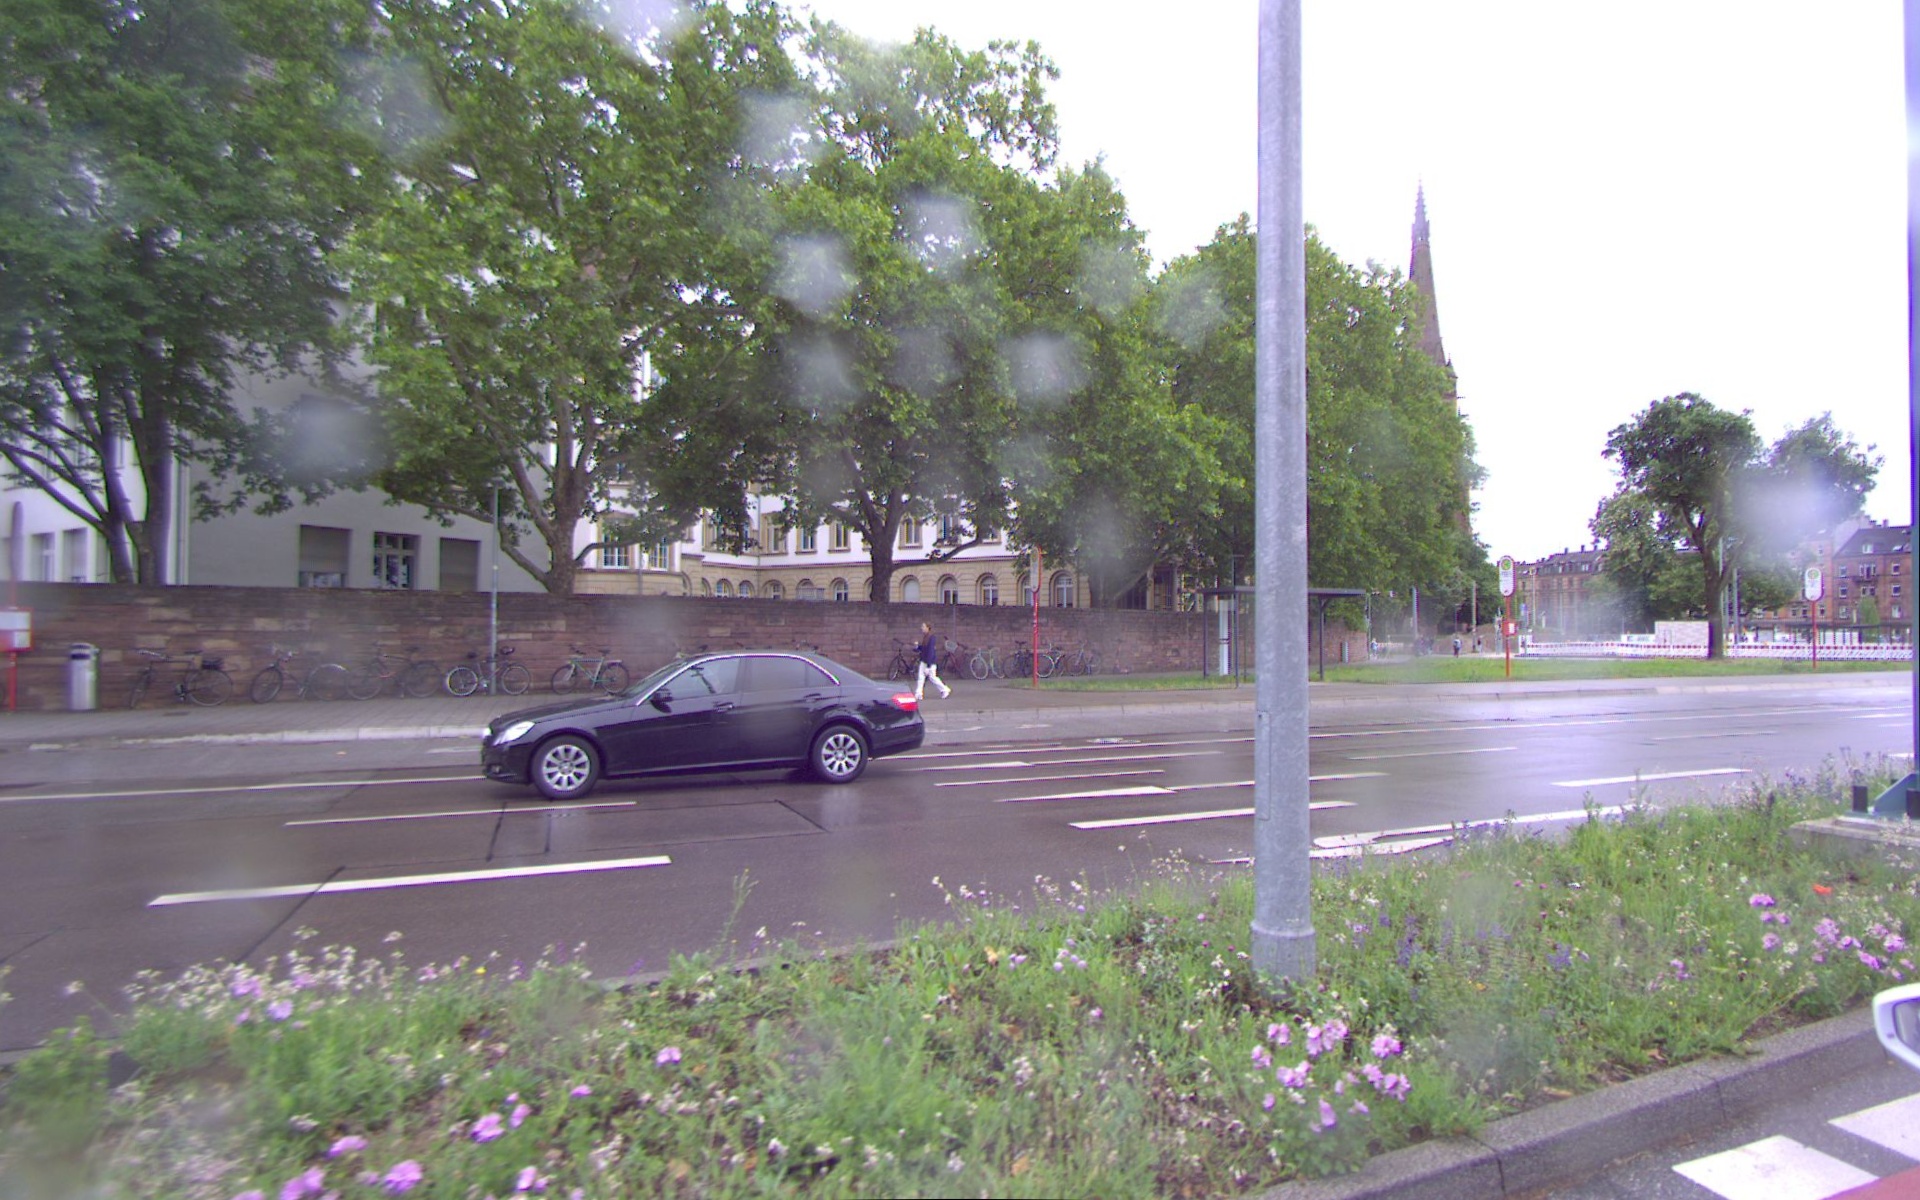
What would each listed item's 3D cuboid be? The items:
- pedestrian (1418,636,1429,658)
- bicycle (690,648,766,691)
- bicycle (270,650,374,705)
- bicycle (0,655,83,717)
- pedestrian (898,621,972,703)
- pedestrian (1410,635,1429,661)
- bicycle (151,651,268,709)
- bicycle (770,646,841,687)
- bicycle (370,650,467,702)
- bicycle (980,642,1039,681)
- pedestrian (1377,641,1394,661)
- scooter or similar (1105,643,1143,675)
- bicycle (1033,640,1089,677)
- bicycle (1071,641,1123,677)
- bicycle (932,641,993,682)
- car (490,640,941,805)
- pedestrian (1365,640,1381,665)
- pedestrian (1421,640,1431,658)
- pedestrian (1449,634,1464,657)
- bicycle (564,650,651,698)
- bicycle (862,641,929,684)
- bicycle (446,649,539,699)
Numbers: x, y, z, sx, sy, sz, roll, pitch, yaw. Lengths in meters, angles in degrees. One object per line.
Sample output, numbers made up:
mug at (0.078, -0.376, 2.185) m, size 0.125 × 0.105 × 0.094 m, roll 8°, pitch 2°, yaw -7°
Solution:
pedestrian at (40.936, 4.179, 88.759) m, size 0.594 × 1.915 × 0.603 m, roll 1°, pitch -1°, yaw -25°
bicycle at (-5.702, 1.692, 24.755) m, size 1.684 × 0.996 × 0.726 m, roll 1°, pitch -1°, yaw -34°
bicycle at (-12.457, 1.493, 19.631) m, size 1.684 × 0.996 × 0.726 m, roll 1°, pitch -1°, yaw -34°
bicycle at (-16.191, 1.463, 17.184) m, size 1.684 × 0.996 × 0.726 m, roll 1°, pitch -1°, yaw -34°
pedestrian at (-0.556, 1.335, 21.994) m, size 1.383 × 1.718 × 0.864 m, roll 1°, pitch -1°, yaw -29°
pedestrian at (36.386, 3.781, 79.603) m, size 0.984 × 2.040 × 1.301 m, roll -1°, pitch -2°, yaw 44°
bicycle at (-13.833, 1.462, 18.570) m, size 1.684 × 0.996 × 0.726 m, roll 1°, pitch -1°, yaw -34°
bicycle at (-3.980, 1.703, 25.897) m, size 1.684 × 0.996 × 0.726 m, roll 1°, pitch -1°, yaw -34°
bicycle at (-11.079, 1.537, 20.585) m, size 1.684 × 0.996 × 0.726 m, roll 1°, pitch -1°, yaw -34°
bicycle at (1.550, 1.899, 31.110) m, size 1.974 × 1.151 × 0.568 m, roll 1°, pitch -2°, yaw -39°
pedestrian at (33.345, 4.000, 78.730) m, size 0.920 × 1.560 × 1.054 m, roll -1°, pitch -2°, yaw 44°
scooter or similar at (5.728, 2.056, 35.047) m, size 1.351 × 1.060 × 0.567 m, roll 1°, pitch -2°, yaw -39°
bicycle at (3.283, 1.876, 32.560) m, size 1.974 × 1.151 × 0.568 m, roll 1°, pitch -2°, yaw -39°
bicycle at (4.653, 1.984, 34.090) m, size 1.974 × 1.151 × 0.568 m, roll 1°, pitch -2°, yaw -39°
bicycle at (0.089, 1.800, 29.656) m, size 1.977 × 1.151 × 0.567 m, roll 1°, pitch -2°, yaw -43°
car at (-2.686, 1.258, 11.367) m, size 4.635 × 1.560 × 1.806 m, roll 1°, pitch -3°, yaw -22°
pedestrian at (34.650, 4.393, 84.224) m, size 0.942 × 2.040 × 0.855 m, roll 1°, pitch -1°, yaw -20°
pedestrian at (39.793, 4.140, 85.753) m, size 0.661 × 1.520 × 0.775 m, roll 0°, pitch -1°, yaw 16°
pedestrian at (39.287, 3.616, 79.524) m, size 0.762 × 1.801 × 0.723 m, roll 1°, pitch -1°, yaw -20°
bicycle at (-7.845, 1.621, 22.377) m, size 1.684 × 0.996 × 0.726 m, roll 1°, pitch -1°, yaw -34°
bicycle at (-1.783, 1.741, 28.148) m, size 1.977 × 1.151 × 0.567 m, roll 1°, pitch -2°, yaw -43°
bicycle at (-9.933, 1.561, 21.356) m, size 1.684 × 0.996 × 0.726 m, roll 1°, pitch -1°, yaw -34°
